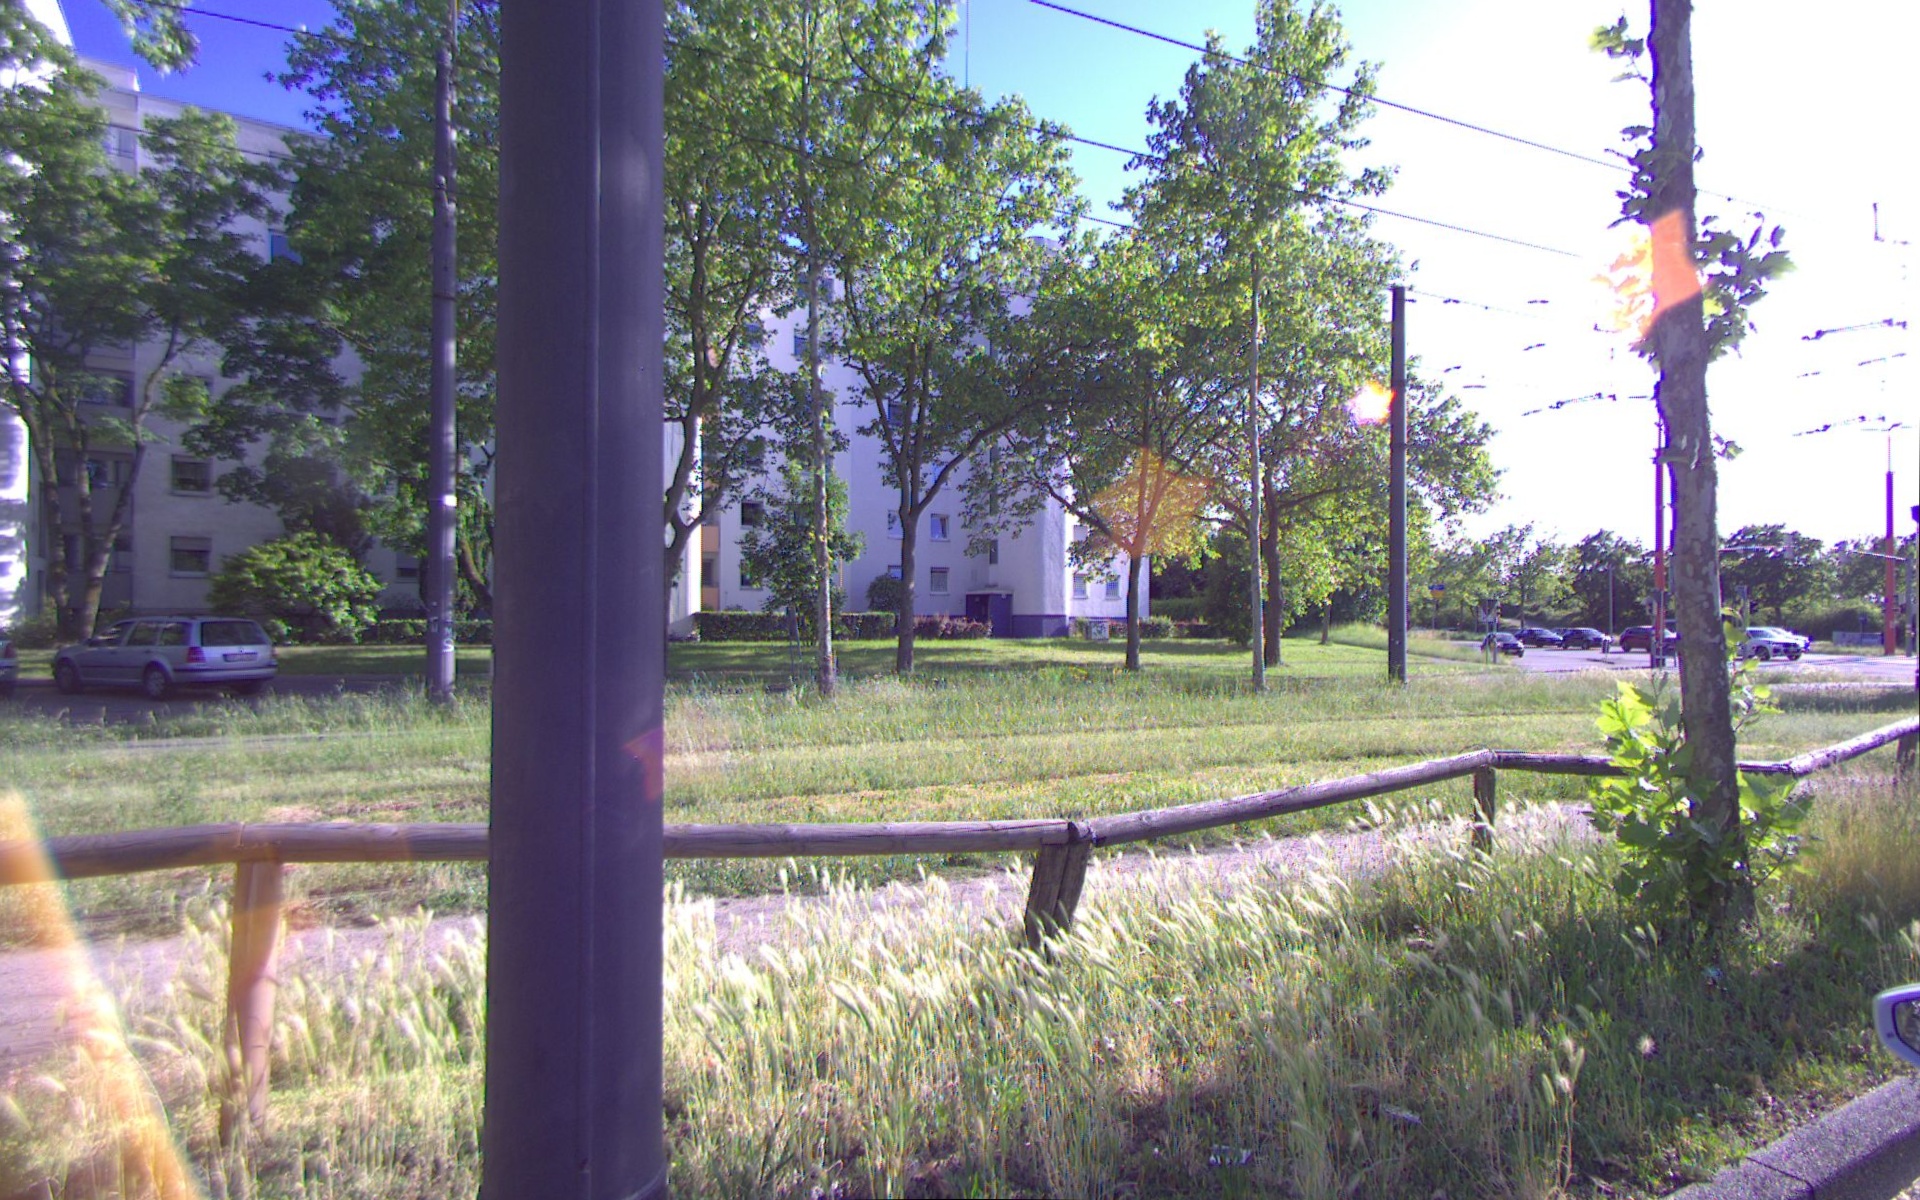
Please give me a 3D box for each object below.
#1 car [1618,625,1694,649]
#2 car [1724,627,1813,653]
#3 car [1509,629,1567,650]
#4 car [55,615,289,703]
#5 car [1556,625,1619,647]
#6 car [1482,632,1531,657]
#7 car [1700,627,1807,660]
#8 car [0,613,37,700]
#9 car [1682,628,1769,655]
[{"bbox_3d":[45.526,2.405,65.805,1.877,1.483,4.373,1,-1,-2],"label":"car"},{"bbox_3d":[48.661,2.372,60.558,1.877,1.483,4.222,1,-1,-2],"label":"car"},{"bbox_3d":[44.823,3.042,77.946,1.877,1.483,4.239,1,-1,-3],"label":"car"},{"bbox_3d":[-14.478,1.026,18.485,3.609,1.452,1.732,0,-1,20],"label":"car"},{"bbox_3d":[45.002,2.563,72.140,1.877,1.483,4.055,1,-1,-3],"label":"car"},{"bbox_3d":[33.983,2.730,62.586,1.790,1.439,3.760,0,-1,14],"label":"car"},{"bbox_3d":[42.603,2.288,54.102,1.877,1.619,4.795,1,-1,-2],"label":"car"},{"bbox_3d":[-17.922,0.927,17.141,3.609,1.452,1.703,0,-1,20],"label":"car"},{"bbox_3d":[45.658,2.463,60.040,1.877,1.483,4.222,1,-1,-2],"label":"car"}]
